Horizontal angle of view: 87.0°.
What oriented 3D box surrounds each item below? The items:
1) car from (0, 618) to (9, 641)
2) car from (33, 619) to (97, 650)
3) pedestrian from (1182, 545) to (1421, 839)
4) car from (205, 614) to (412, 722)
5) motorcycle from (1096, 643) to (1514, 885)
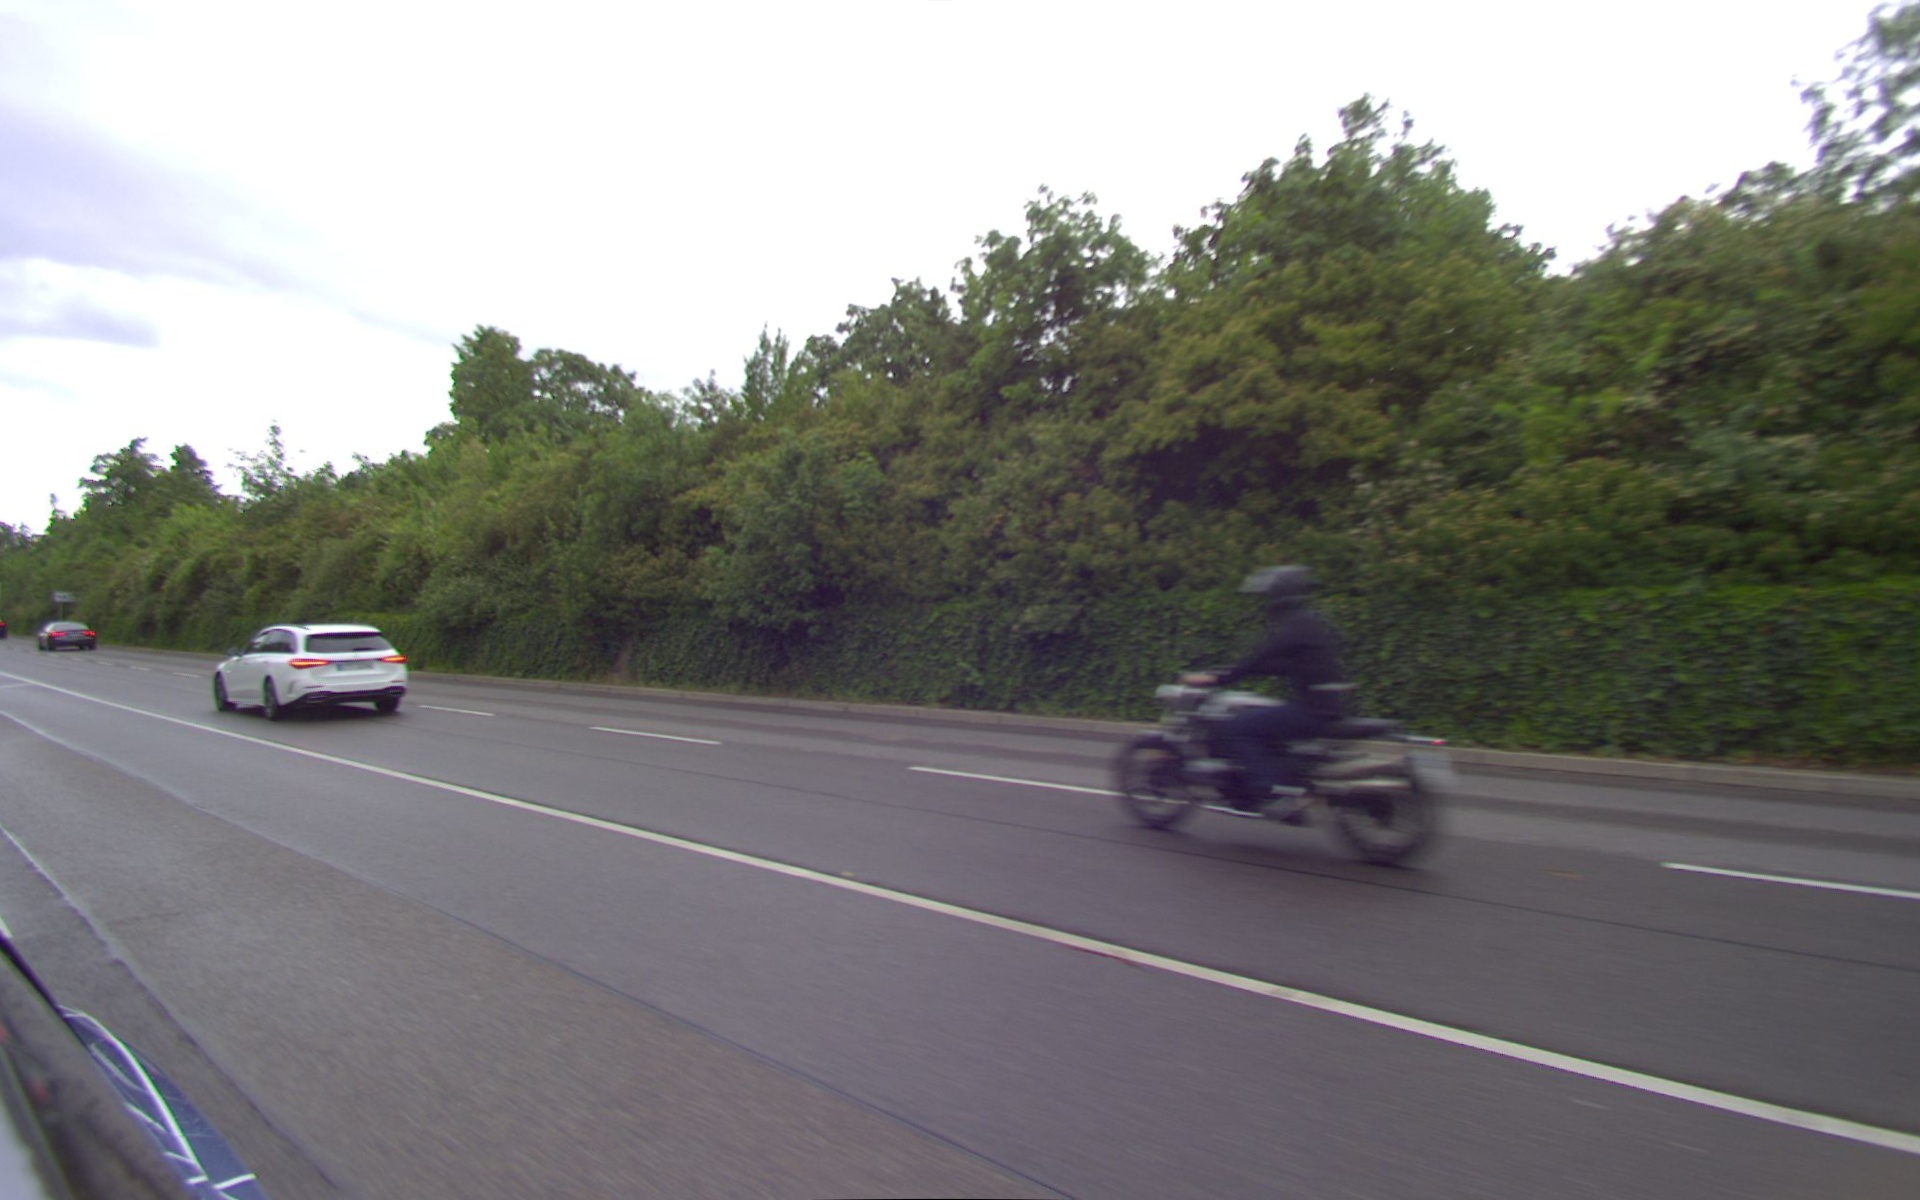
[{"bbox_3d":[-69.133,2.082,71.852,4.628,1.564,1.879,-1,0,41],"label":"car"},{"bbox_3d":[-44.486,1.717,50.275,4.835,1.391,1.741,-2,0,41],"label":"car"},{"bbox_3d":[2.021,0.494,6.018,1.111,1.553,0.797,-1,-1,41],"label":"pedestrian"},{"bbox_3d":[-10.872,1.031,16.741,4.514,1.516,1.697,-2,0,41],"label":"car"},{"bbox_3d":[1.973,0.857,6.057,2.230,1.140,0.797,-1,-1,41],"label":"motorcycle"}]
